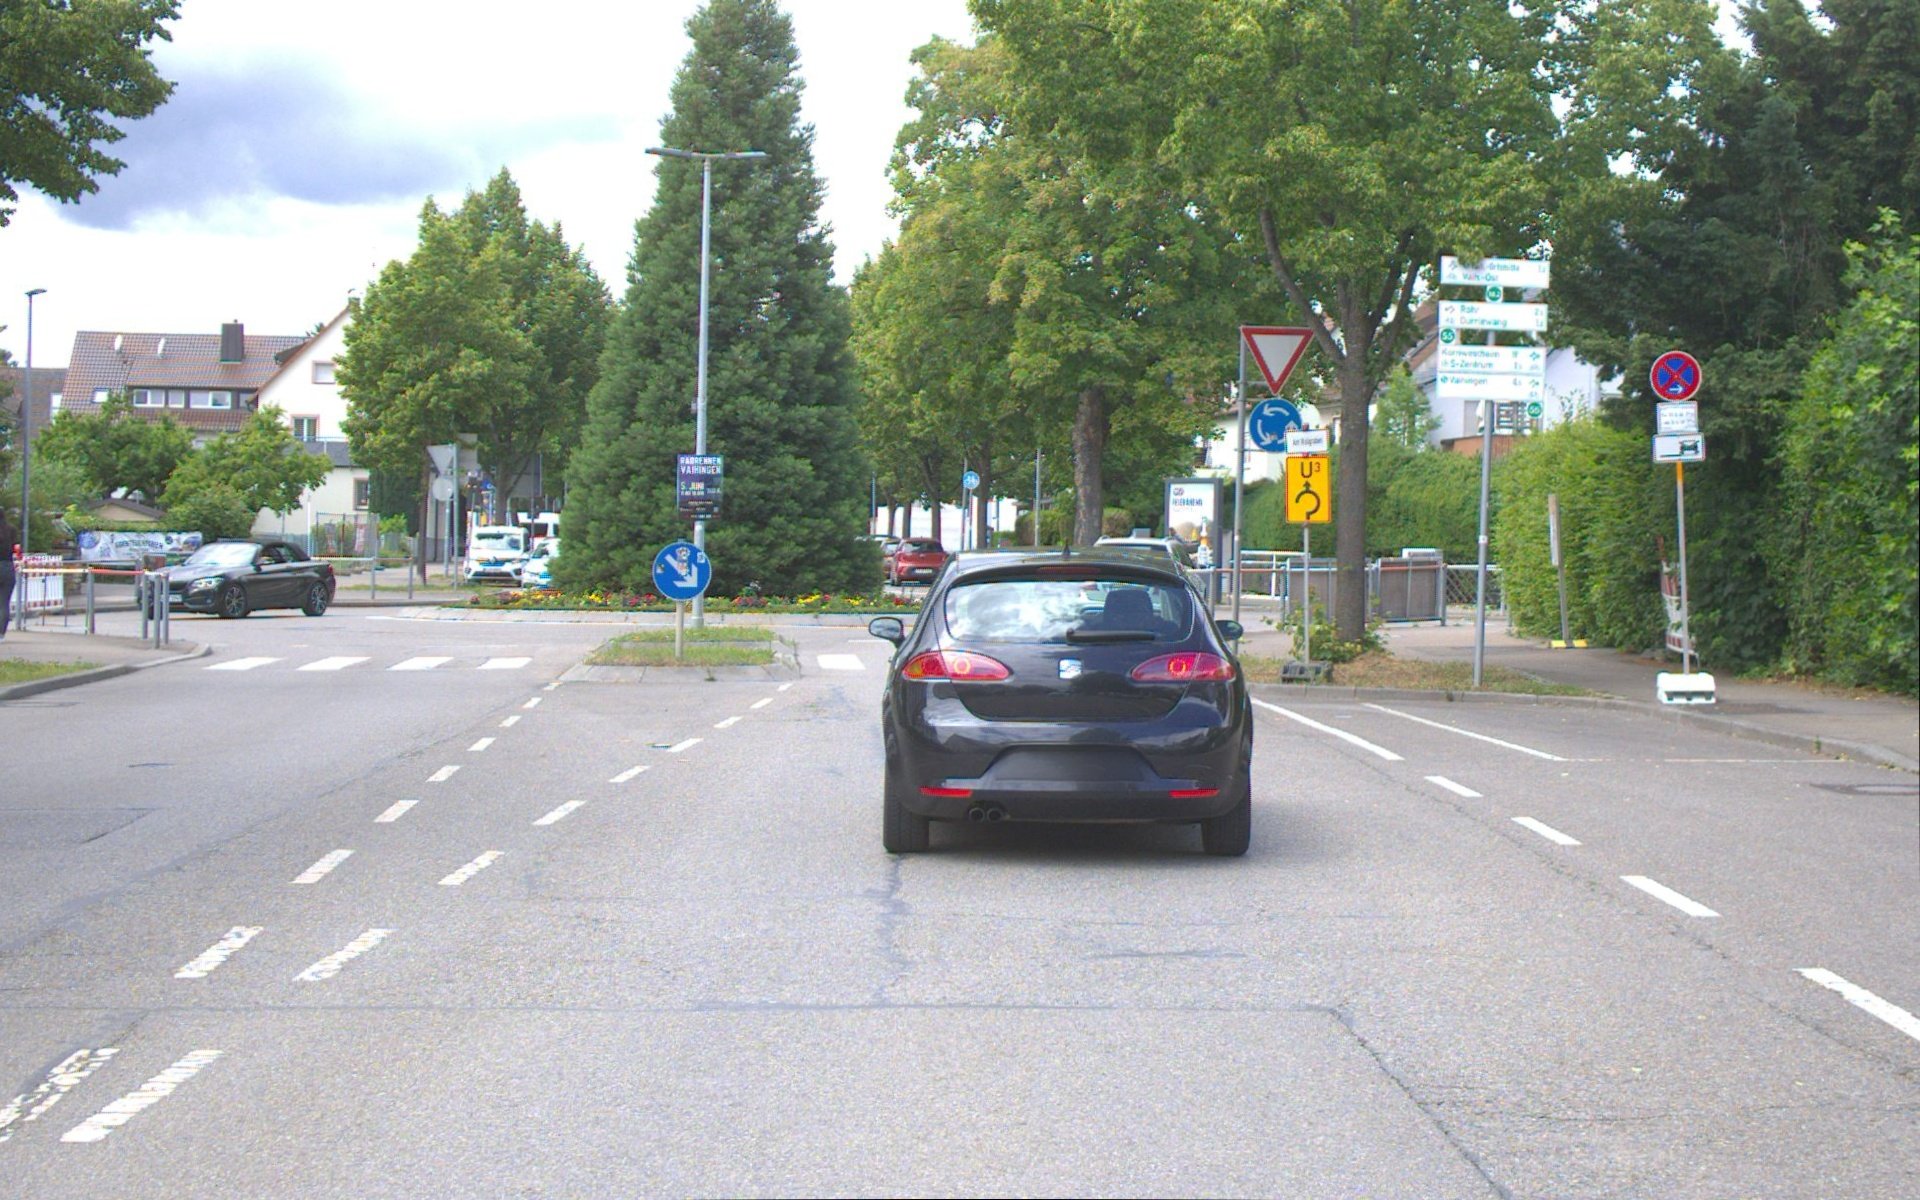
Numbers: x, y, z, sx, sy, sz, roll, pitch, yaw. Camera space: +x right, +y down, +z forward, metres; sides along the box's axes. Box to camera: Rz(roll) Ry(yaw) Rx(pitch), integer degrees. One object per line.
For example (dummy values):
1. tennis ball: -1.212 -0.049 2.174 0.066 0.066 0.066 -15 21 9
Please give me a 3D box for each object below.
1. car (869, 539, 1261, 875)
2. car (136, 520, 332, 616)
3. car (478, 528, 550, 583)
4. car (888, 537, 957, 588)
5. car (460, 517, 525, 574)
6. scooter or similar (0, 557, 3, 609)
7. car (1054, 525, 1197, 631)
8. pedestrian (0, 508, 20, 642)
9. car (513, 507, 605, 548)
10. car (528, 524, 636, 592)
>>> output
1. car: 0.424 0.443 17.302 1.732 1.481 4.000 0 1 -1
2. car: -12.698 -0.574 60.294 1.570 1.628 3.617 1 1 23
3. car: -13.310 -1.345 102.693 1.797 1.596 4.001 0 1 -2
4. car: -1.158 -1.148 104.491 1.474 1.484 3.383 0 1 -11
5. car: -16.409 -1.908 120.821 2.029 1.964 4.001 0 1 -4
6. scooter or similar: -12.522 -0.014 43.416 0.406 1.092 0.969 3 1 -41
7. car: 2.623 -0.375 55.338 1.993 1.607 4.000 1 1 -1
8. pedestrian: -12.036 -0.313 42.827 0.481 1.664 0.516 0 1 -35
9. car: -19.610 -3.560 168.209 3.990 1.964 2.035 1 1 17
10. car: -8.969 -1.015 81.921 1.869 1.555 4.259 0 1 3
